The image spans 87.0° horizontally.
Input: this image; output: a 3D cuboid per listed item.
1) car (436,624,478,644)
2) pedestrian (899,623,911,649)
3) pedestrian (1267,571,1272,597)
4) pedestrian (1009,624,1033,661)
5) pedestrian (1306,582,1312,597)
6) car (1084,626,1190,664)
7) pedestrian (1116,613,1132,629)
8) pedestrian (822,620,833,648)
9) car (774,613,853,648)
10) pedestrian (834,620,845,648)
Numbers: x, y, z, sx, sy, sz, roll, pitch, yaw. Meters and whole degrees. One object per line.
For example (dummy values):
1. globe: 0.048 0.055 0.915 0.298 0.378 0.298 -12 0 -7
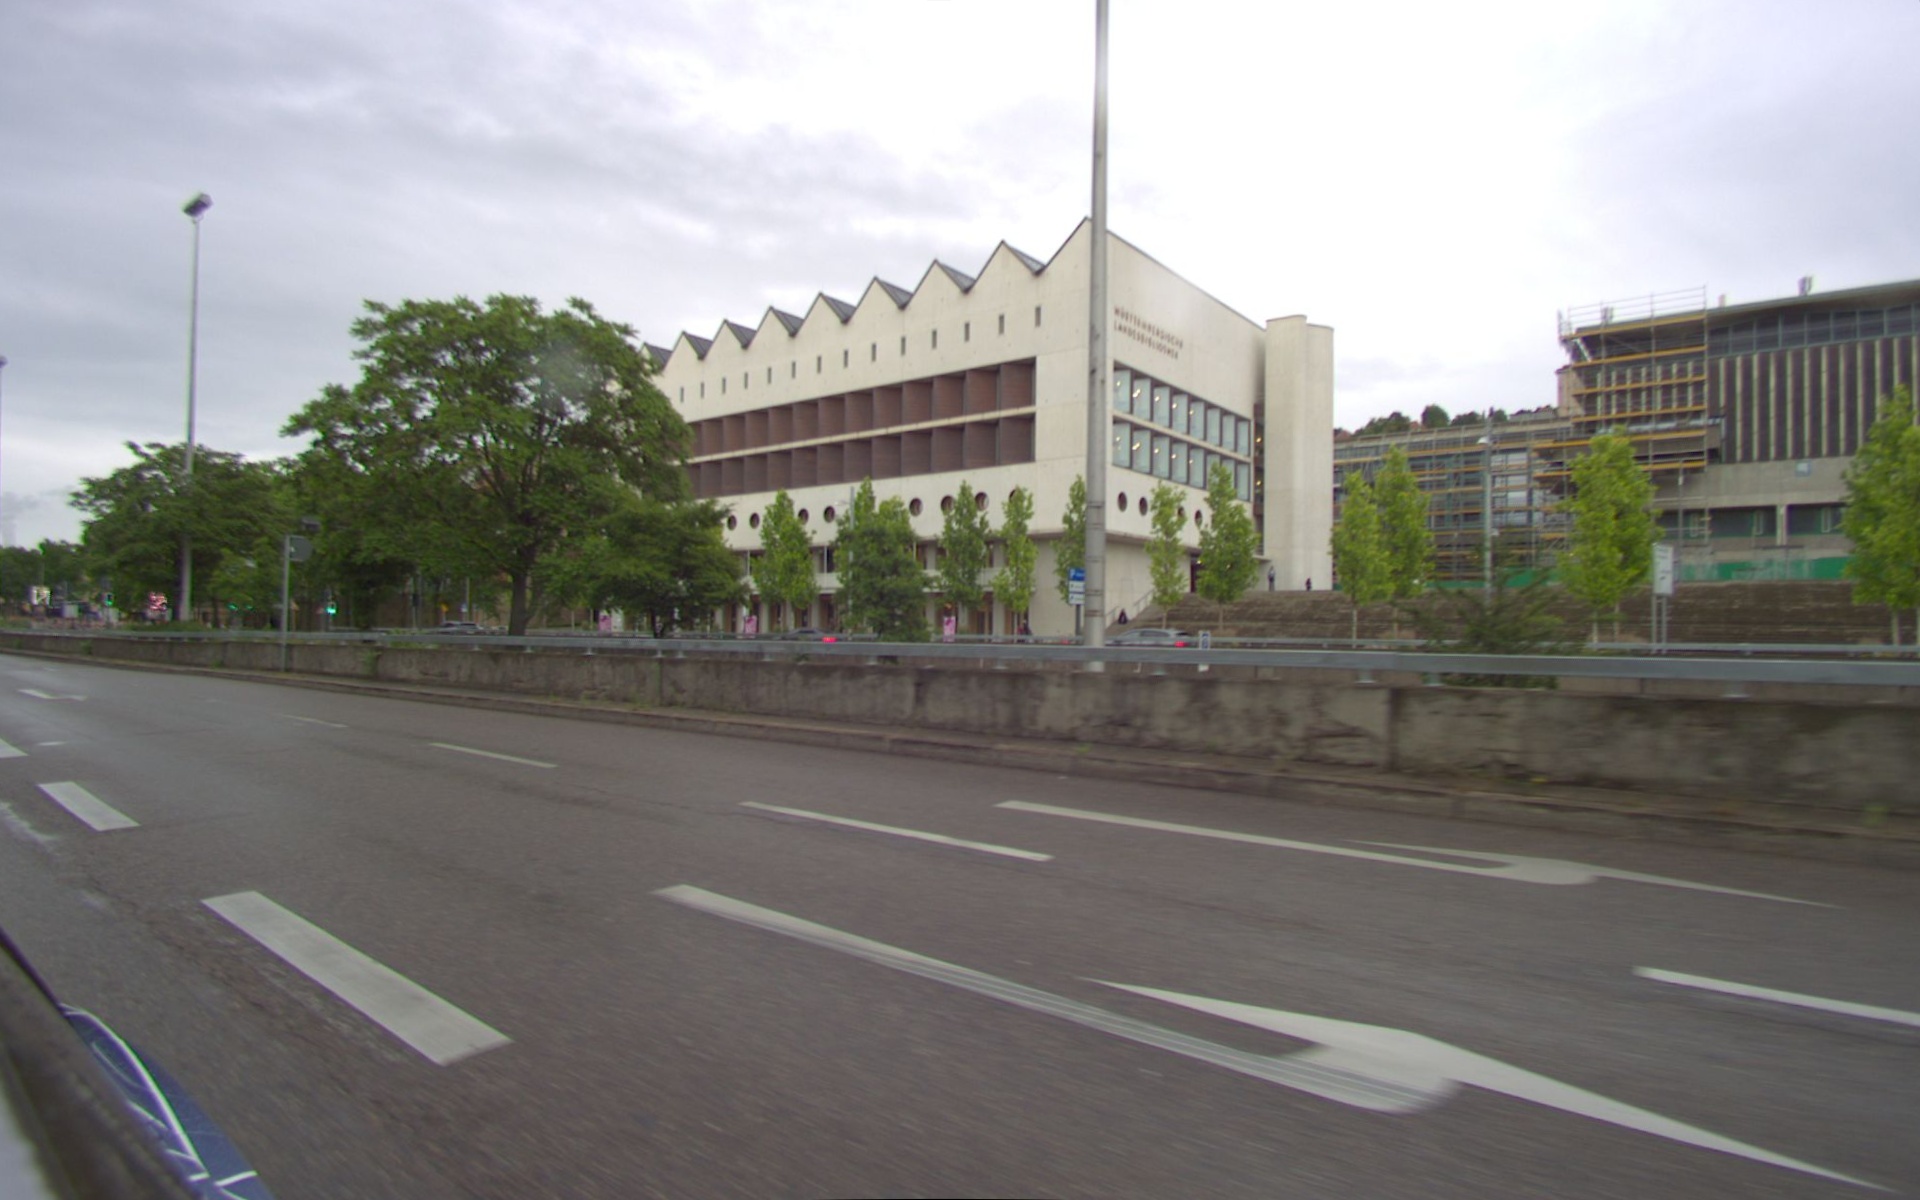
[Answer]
1. car: -32.714 2.198 65.827 2.817 1.287 1.282 0 0 35
2. pedestrian: -3.599 2.345 66.076 0.692 1.639 0.740 0 0 3
3. pedestrian: 19.097 -0.997 62.456 0.312 1.585 0.310 0 -1 15
4. pedestrian: 3.143 2.169 52.262 0.828 1.880 1.076 0 -1 36
5. pedestrian: 25.383 -0.776 73.615 0.308 1.120 0.419 0 0 6
6. car: 6.405 1.603 36.799 3.540 1.236 1.549 0 0 41
7. pedestrian: 9.671 1.234 59.564 0.628 0.894 0.798 -1 -1 41
8. pedestrian: -8.890 2.271 67.992 0.729 1.873 0.703 0 0 -8
9. car: -6.797 1.375 46.774 3.470 1.567 1.678 0 0 37
10. pedestrian: -8.098 2.277 68.091 0.729 1.873 0.703 0 0 -8
